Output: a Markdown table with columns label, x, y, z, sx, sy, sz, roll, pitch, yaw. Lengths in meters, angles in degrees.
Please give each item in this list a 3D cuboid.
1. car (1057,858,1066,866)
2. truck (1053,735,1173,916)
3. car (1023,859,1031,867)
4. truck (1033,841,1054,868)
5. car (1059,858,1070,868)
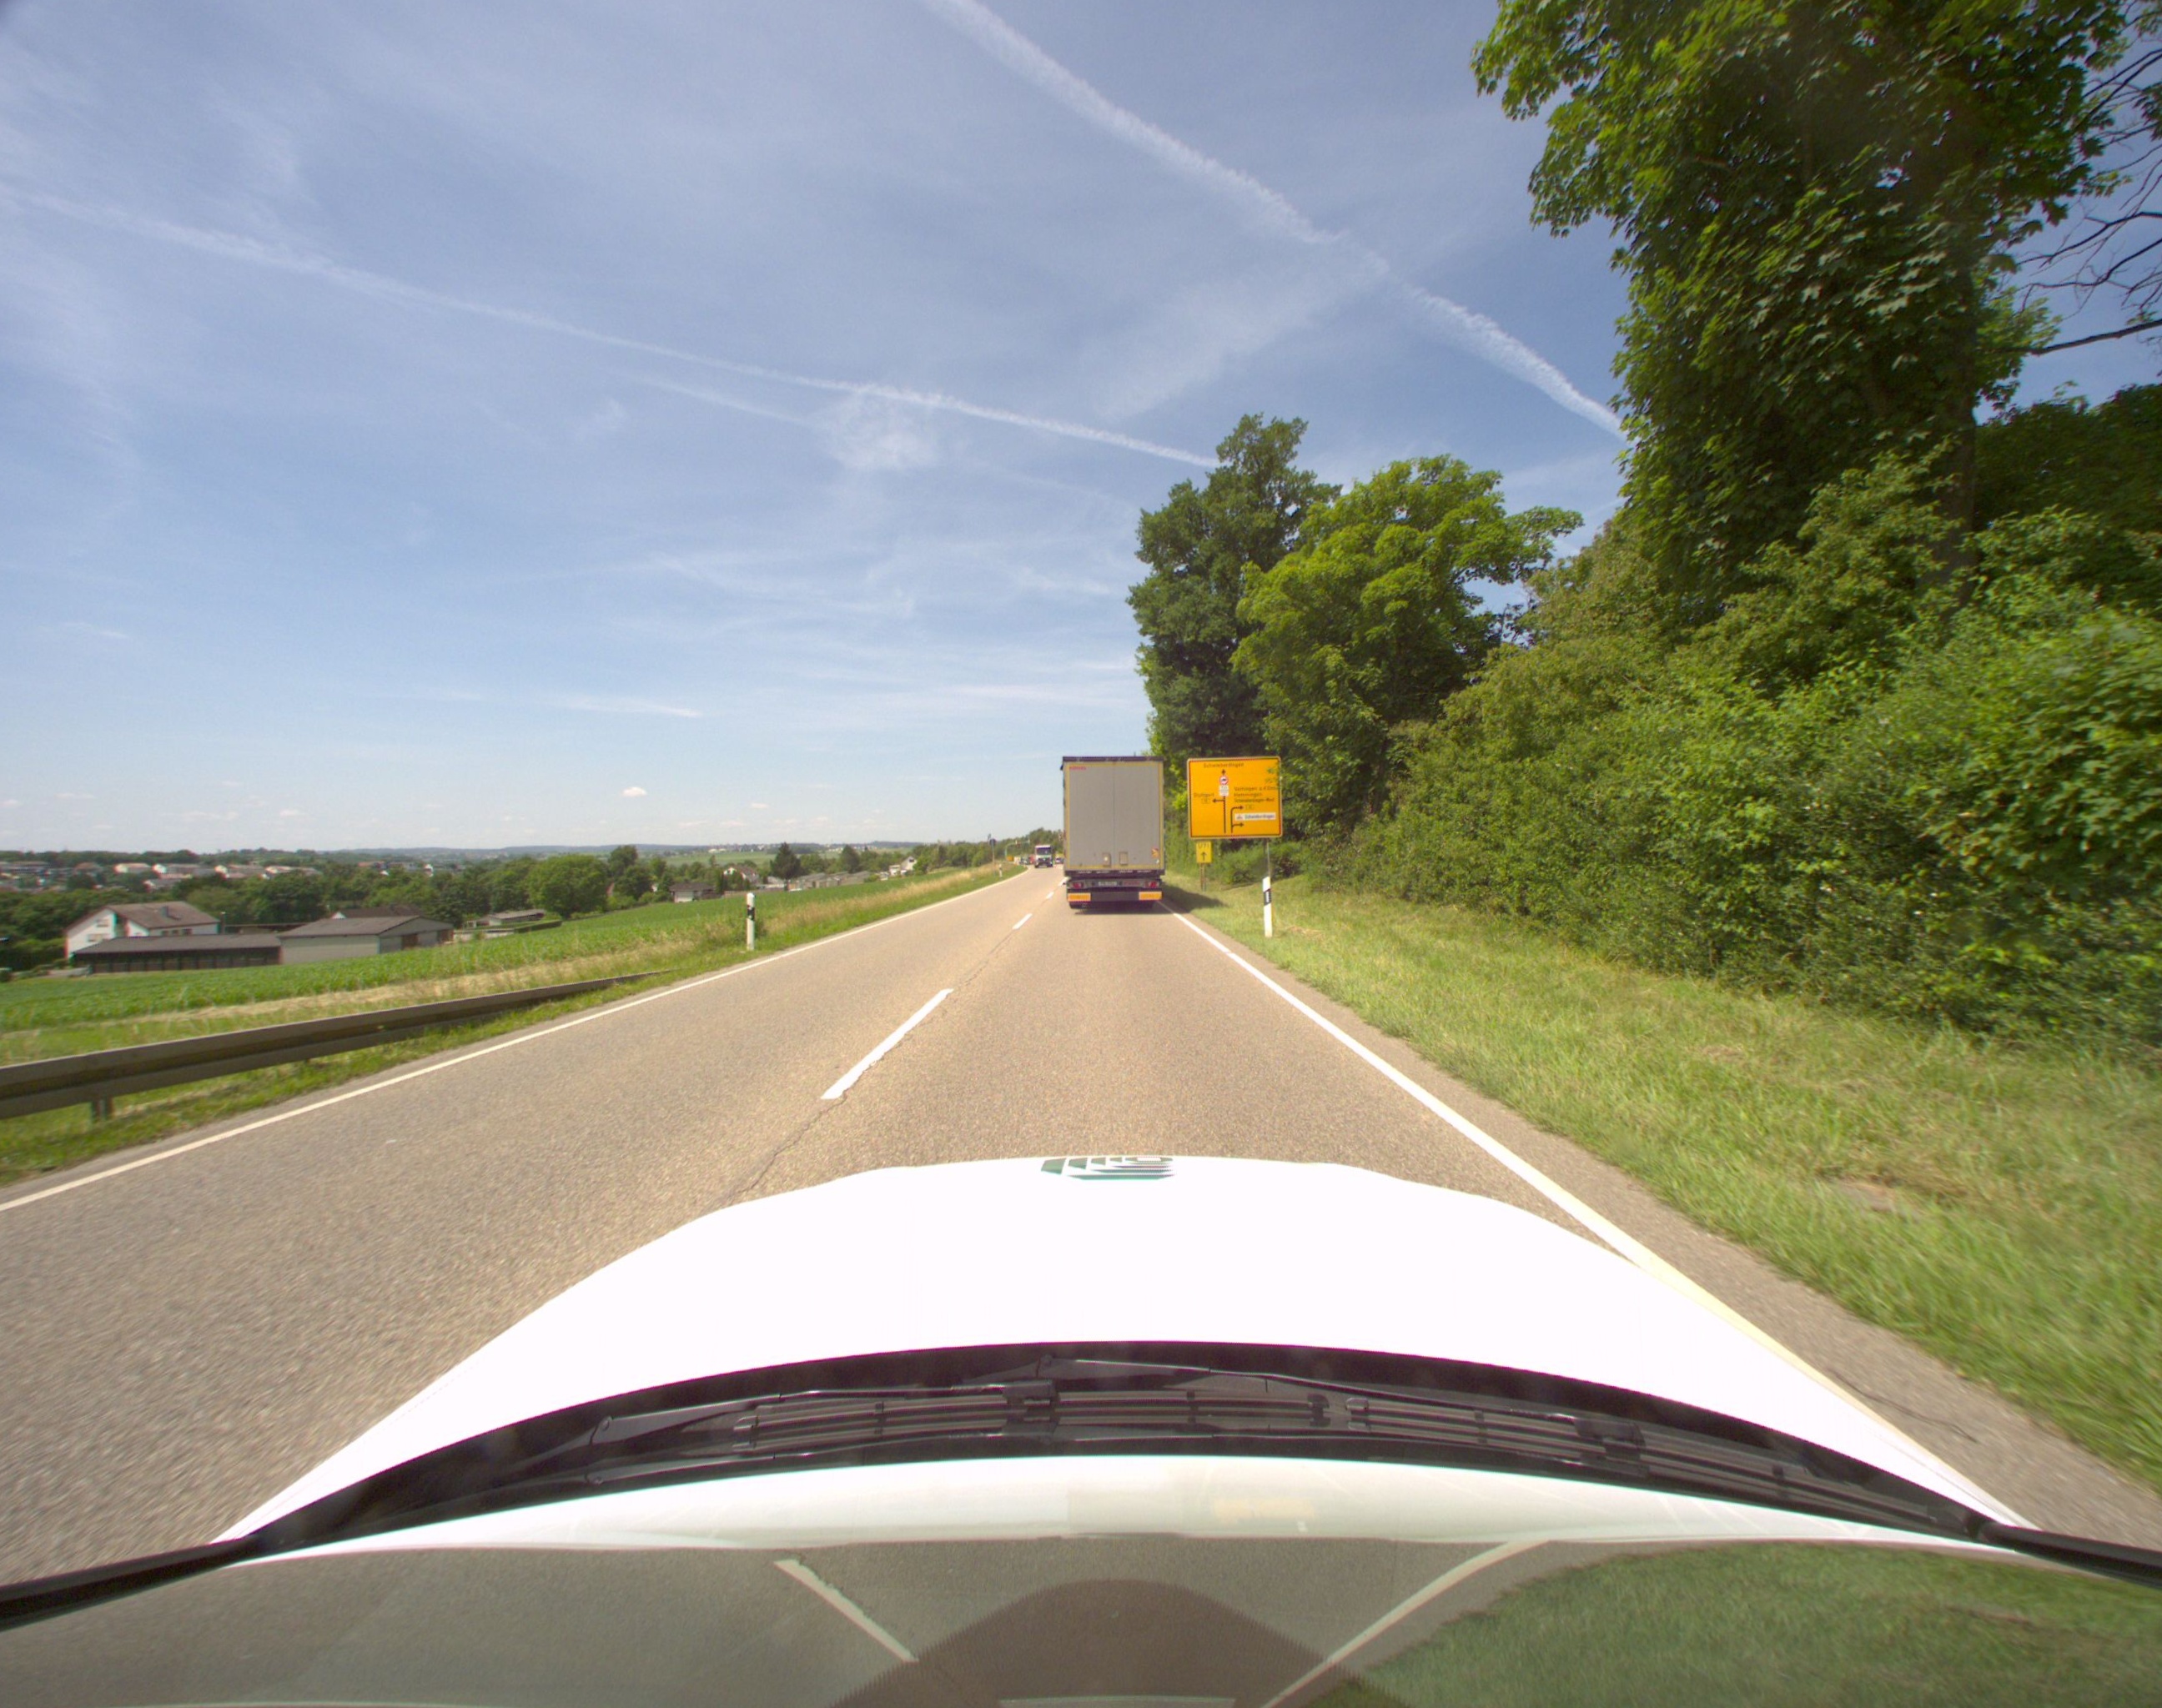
| label | x | y | z | sx | sy | sz | roll | pitch | yaw |
| --- | --- | --- | --- | --- | --- | --- | --- | --- | --- |
| car | -4.834 | 1.918 | 197.082 | 1.888 | 1.777 | 4.380 | -4 | 0 | -4 |
| truck | 0.689 | -0.697 | 24.435 | 2.899 | 4.410 | 8.855 | -1 | 0 | -1 |
| car | -14.313 | 2.314 | 215.081 | 1.991 | 1.950 | 4.494 | -4 | 0 | -5 |
| truck | -5.372 | 0.189 | 118.943 | 2.749 | 3.576 | 11.056 | -4 | -1 | -2 |
| car | -3.653 | 2.012 | 181.965 | 2.167 | 2.013 | 4.519 | -4 | 0 | -4 |
